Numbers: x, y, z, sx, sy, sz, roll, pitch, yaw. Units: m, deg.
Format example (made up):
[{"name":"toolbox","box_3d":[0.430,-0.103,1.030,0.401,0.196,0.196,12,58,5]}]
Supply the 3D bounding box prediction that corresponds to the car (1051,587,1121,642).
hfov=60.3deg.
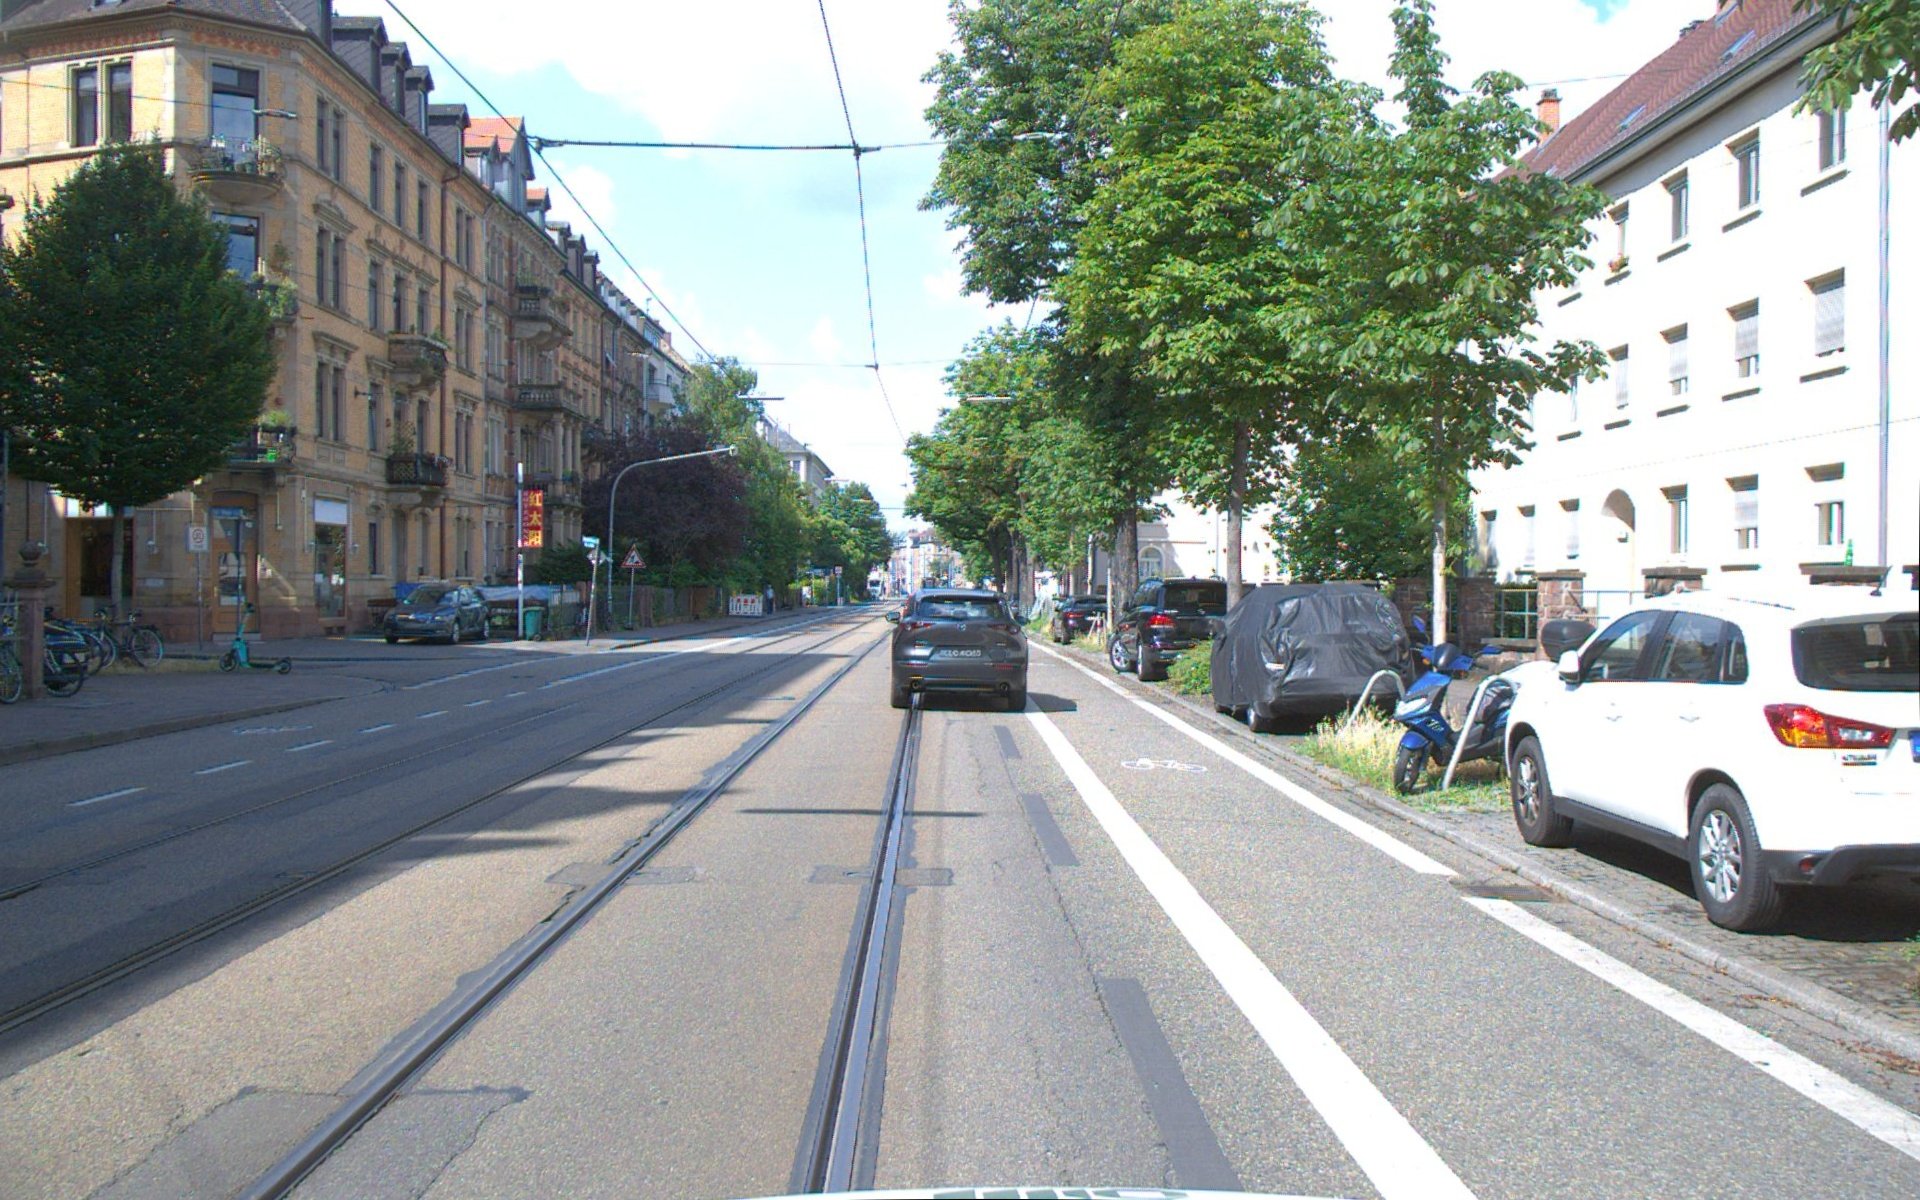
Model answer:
[{"name":"car","box_3d":[3.740,0.410,49.622,1.671,1.505,4.196,2,0,-1]}]

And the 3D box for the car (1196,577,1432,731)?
[{"name":"car","box_3d":[4.195,0.573,20.386,1.825,1.682,4.636,0,0,-1]}]

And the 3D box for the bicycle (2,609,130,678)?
[{"name":"bicycle","box_3d":[-14.377,0.691,26.629,1.720,1.082,0.524,0,1,-7]}]

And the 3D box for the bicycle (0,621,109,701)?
[{"name":"bicycle","box_3d":[-11.541,0.764,20.834,1.423,0.994,0.404,0,0,-1]}]

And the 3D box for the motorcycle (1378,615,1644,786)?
[{"name":"motorcycle","box_3d":[4.548,0.813,13.727,1.967,1.360,0.746,0,0,-5]}]

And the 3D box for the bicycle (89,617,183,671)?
[{"name":"bicycle","box_3d":[-14.238,0.739,28.624,0.512,0.852,1.700,0,1,12]}]

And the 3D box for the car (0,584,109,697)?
[{"name":"car","box_3d":[-13.649,0.497,22.195,3.528,1.427,1.787,1,1,3]}]

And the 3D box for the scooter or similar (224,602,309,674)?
[{"name":"scooter or similar","box_3d":[-12.294,0.669,29.326,1.346,1.256,0.400,1,0,-30]}]

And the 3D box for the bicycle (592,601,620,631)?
[{"name":"bicycle","box_3d":[-11.680,0.523,54.606,0.519,0.963,1.967,0,0,-1]}]

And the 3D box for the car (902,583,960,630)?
[{"name":"car","box_3d":[-1.031,0.220,59.337,1.953,1.555,3.999,2,0,-1]}]

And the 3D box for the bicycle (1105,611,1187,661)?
[{"name":"bicycle","box_3d":[3.946,0.766,35.231,1.673,1.024,0.638,0,0,-1]}]

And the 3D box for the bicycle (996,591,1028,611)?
[{"name":"bicycle","box_3d":[3.192,0.052,101.018,1.895,1.196,0.513,-1,-1,11]}]

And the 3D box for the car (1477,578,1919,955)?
[{"name":"car","box_3d":[4.534,0.709,9.414,1.707,1.608,4.247,-2,0,-2]}]

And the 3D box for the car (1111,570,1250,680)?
[{"name":"car","box_3d":[3.884,0.384,29.886,1.790,1.813,4.732,0,1,-1]}]

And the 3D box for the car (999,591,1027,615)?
[{"name":"car","box_3d":[3.342,0.193,104.778,1.632,1.455,3.765,-2,0,0]}]

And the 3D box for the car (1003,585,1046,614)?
[{"name":"car","box_3d":[3.403,-0.032,88.069,1.810,1.434,4.391,-2,0,-4]}]

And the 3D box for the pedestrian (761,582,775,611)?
[{"name":"pedestrian","box_3d":[-11.689,-0.222,100.904,0.806,1.736,0.891,0,0,-4]}]

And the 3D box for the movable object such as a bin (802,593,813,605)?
[{"name":"movable object such as a bin","box_3d":[-12.489,-0.073,135.630,0.730,1.005,1.114,2,0,-1]}]

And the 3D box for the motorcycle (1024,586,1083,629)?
[{"name":"motorcycle","box_3d":[3.698,0.281,65.361,2.341,1.625,0.676,2,1,38]}]

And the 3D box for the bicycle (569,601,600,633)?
[{"name":"bicycle","box_3d":[-11.526,0.521,50.831,0.519,0.963,1.967,0,0,-1]}]

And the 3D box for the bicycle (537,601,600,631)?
[{"name":"bicycle","box_3d":[-12.583,0.505,53.199,1.923,0.963,0.531,0,0,-6]}]

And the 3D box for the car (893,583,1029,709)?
[{"name":"car","box_3d":[-0.025,0.558,22.250,1.686,1.553,3.588,0,0,-1]}]

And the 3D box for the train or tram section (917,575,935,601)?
[{"name":"train or tram section","box_3d":[-5.255,-1.857,255.990,2.520,3.838,13.019,0,0,-3]}]

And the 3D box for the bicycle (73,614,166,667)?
[{"name":"bicycle","box_3d":[-14.773,0.699,29.114,0.512,0.852,1.700,0,1,12]}]

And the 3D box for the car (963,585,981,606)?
[{"name":"car","box_3d":[1.176,-0.469,163.863,1.685,2.003,4.207,0,0,0]}]

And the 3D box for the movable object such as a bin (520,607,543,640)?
[{"name":"movable object such as a bin","box_3d":[-12.065,0.667,46.576,0.514,0.921,0.636,0,0,-2]}]

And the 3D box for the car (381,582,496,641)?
[{"name":"car","box_3d":[-13.900,0.277,44.340,1.651,1.485,4.764,0,0,-1]}]

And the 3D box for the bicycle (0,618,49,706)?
[{"name":"bicycle","box_3d":[-11.233,0.718,19.078,0.413,0.993,1.949,0,0,-1]}]
